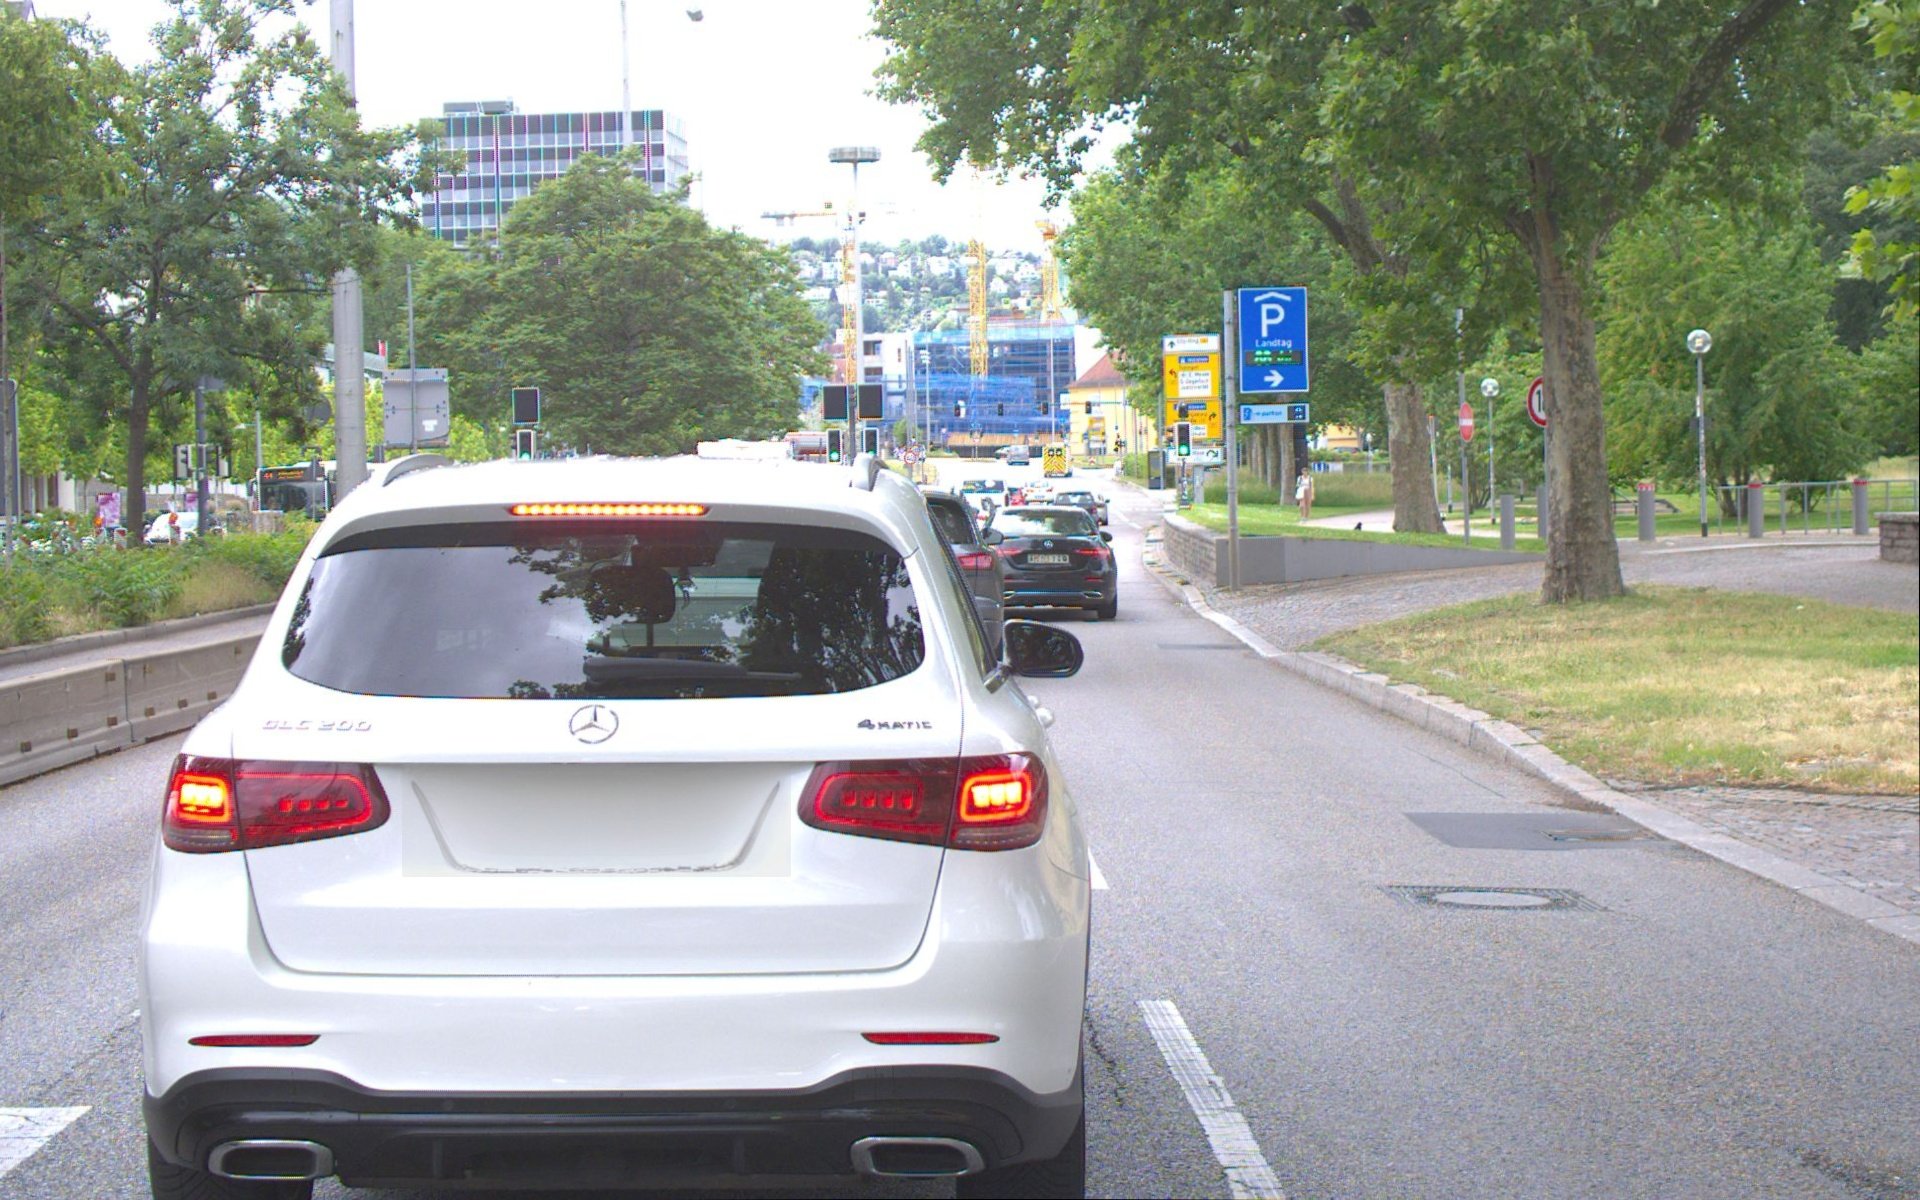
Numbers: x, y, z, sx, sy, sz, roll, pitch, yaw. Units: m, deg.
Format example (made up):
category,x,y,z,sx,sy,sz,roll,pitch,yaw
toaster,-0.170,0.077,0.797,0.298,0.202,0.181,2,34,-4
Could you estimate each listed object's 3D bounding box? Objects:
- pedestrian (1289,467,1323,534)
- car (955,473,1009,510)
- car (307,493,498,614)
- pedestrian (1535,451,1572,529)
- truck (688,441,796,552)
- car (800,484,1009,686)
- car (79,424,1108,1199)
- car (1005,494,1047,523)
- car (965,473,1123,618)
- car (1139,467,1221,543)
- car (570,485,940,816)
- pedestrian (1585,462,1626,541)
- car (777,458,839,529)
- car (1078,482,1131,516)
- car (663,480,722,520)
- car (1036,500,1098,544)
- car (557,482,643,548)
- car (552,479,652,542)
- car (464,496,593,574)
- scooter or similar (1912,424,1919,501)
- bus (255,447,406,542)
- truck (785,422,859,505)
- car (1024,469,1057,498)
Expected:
category,x,y,z,sx,sy,sz,roll,pitch,yaw
pedestrian,10.576,-3.044,105.031,0.761,2.006,0.697,0,2,36
car,0.805,-3.963,125.802,1.947,1.315,4.017,0,1,1
car,-6.993,-0.622,43.470,1.776,1.415,4.001,-1,2,-1
pedestrian,13.225,-2.455,76.586,0.759,1.719,0.699,-1,2,8
truck,-5.823,-2.804,92.720,2.621,2.851,7.079,0,2,-1
car,-0.528,-0.166,29.637,1.659,1.633,3.548,0,1,-3
car,-0.688,0.457,8.224,1.788,1.619,4.438,0,1,-1
car,3.080,-4.309,161.985,1.947,1.315,4.017,0,1,1
car,1.027,-0.731,44.000,1.825,1.746,4.001,-1,2,-1
car,5.965,-2.581,93.619,1.993,2.007,4.000,0,1,1
car,-1.161,0.195,18.634,1.795,1.603,3.756,0,1,-5
pedestrian,13.216,-2.019,70.395,0.639,1.605,0.662,0,2,30
car,-5.448,-3.818,123.390,1.993,2.467,4.000,-1,2,0
car,5.696,-3.964,135.648,1.947,1.315,4.017,0,1,1
car,-8.934,-3.332,114.921,1.659,1.315,3.547,0,1,1
car,3.508,-2.569,112.852,1.947,1.423,4.017,0,1,1
car,-8.647,-2.064,82.822,1.659,1.508,3.548,-1,2,0
car,-7.715,-1.936,74.310,1.659,1.315,3.547,0,1,2
car,-7.490,-1.150,59.960,1.659,1.315,3.547,0,1,2
scooter or similar,15.782,-2.209,54.799,0.636,1.241,2.225,1,1,2
bus,-22.640,-3.828,124.514,3.667,3.194,14.277,-1,2,-4
truck,-5.206,-5.153,130.564,2.691,2.981,5.638,1,1,-1
car,4.673,-6.801,200.596,1.758,1.663,4.168,-1,2,0
